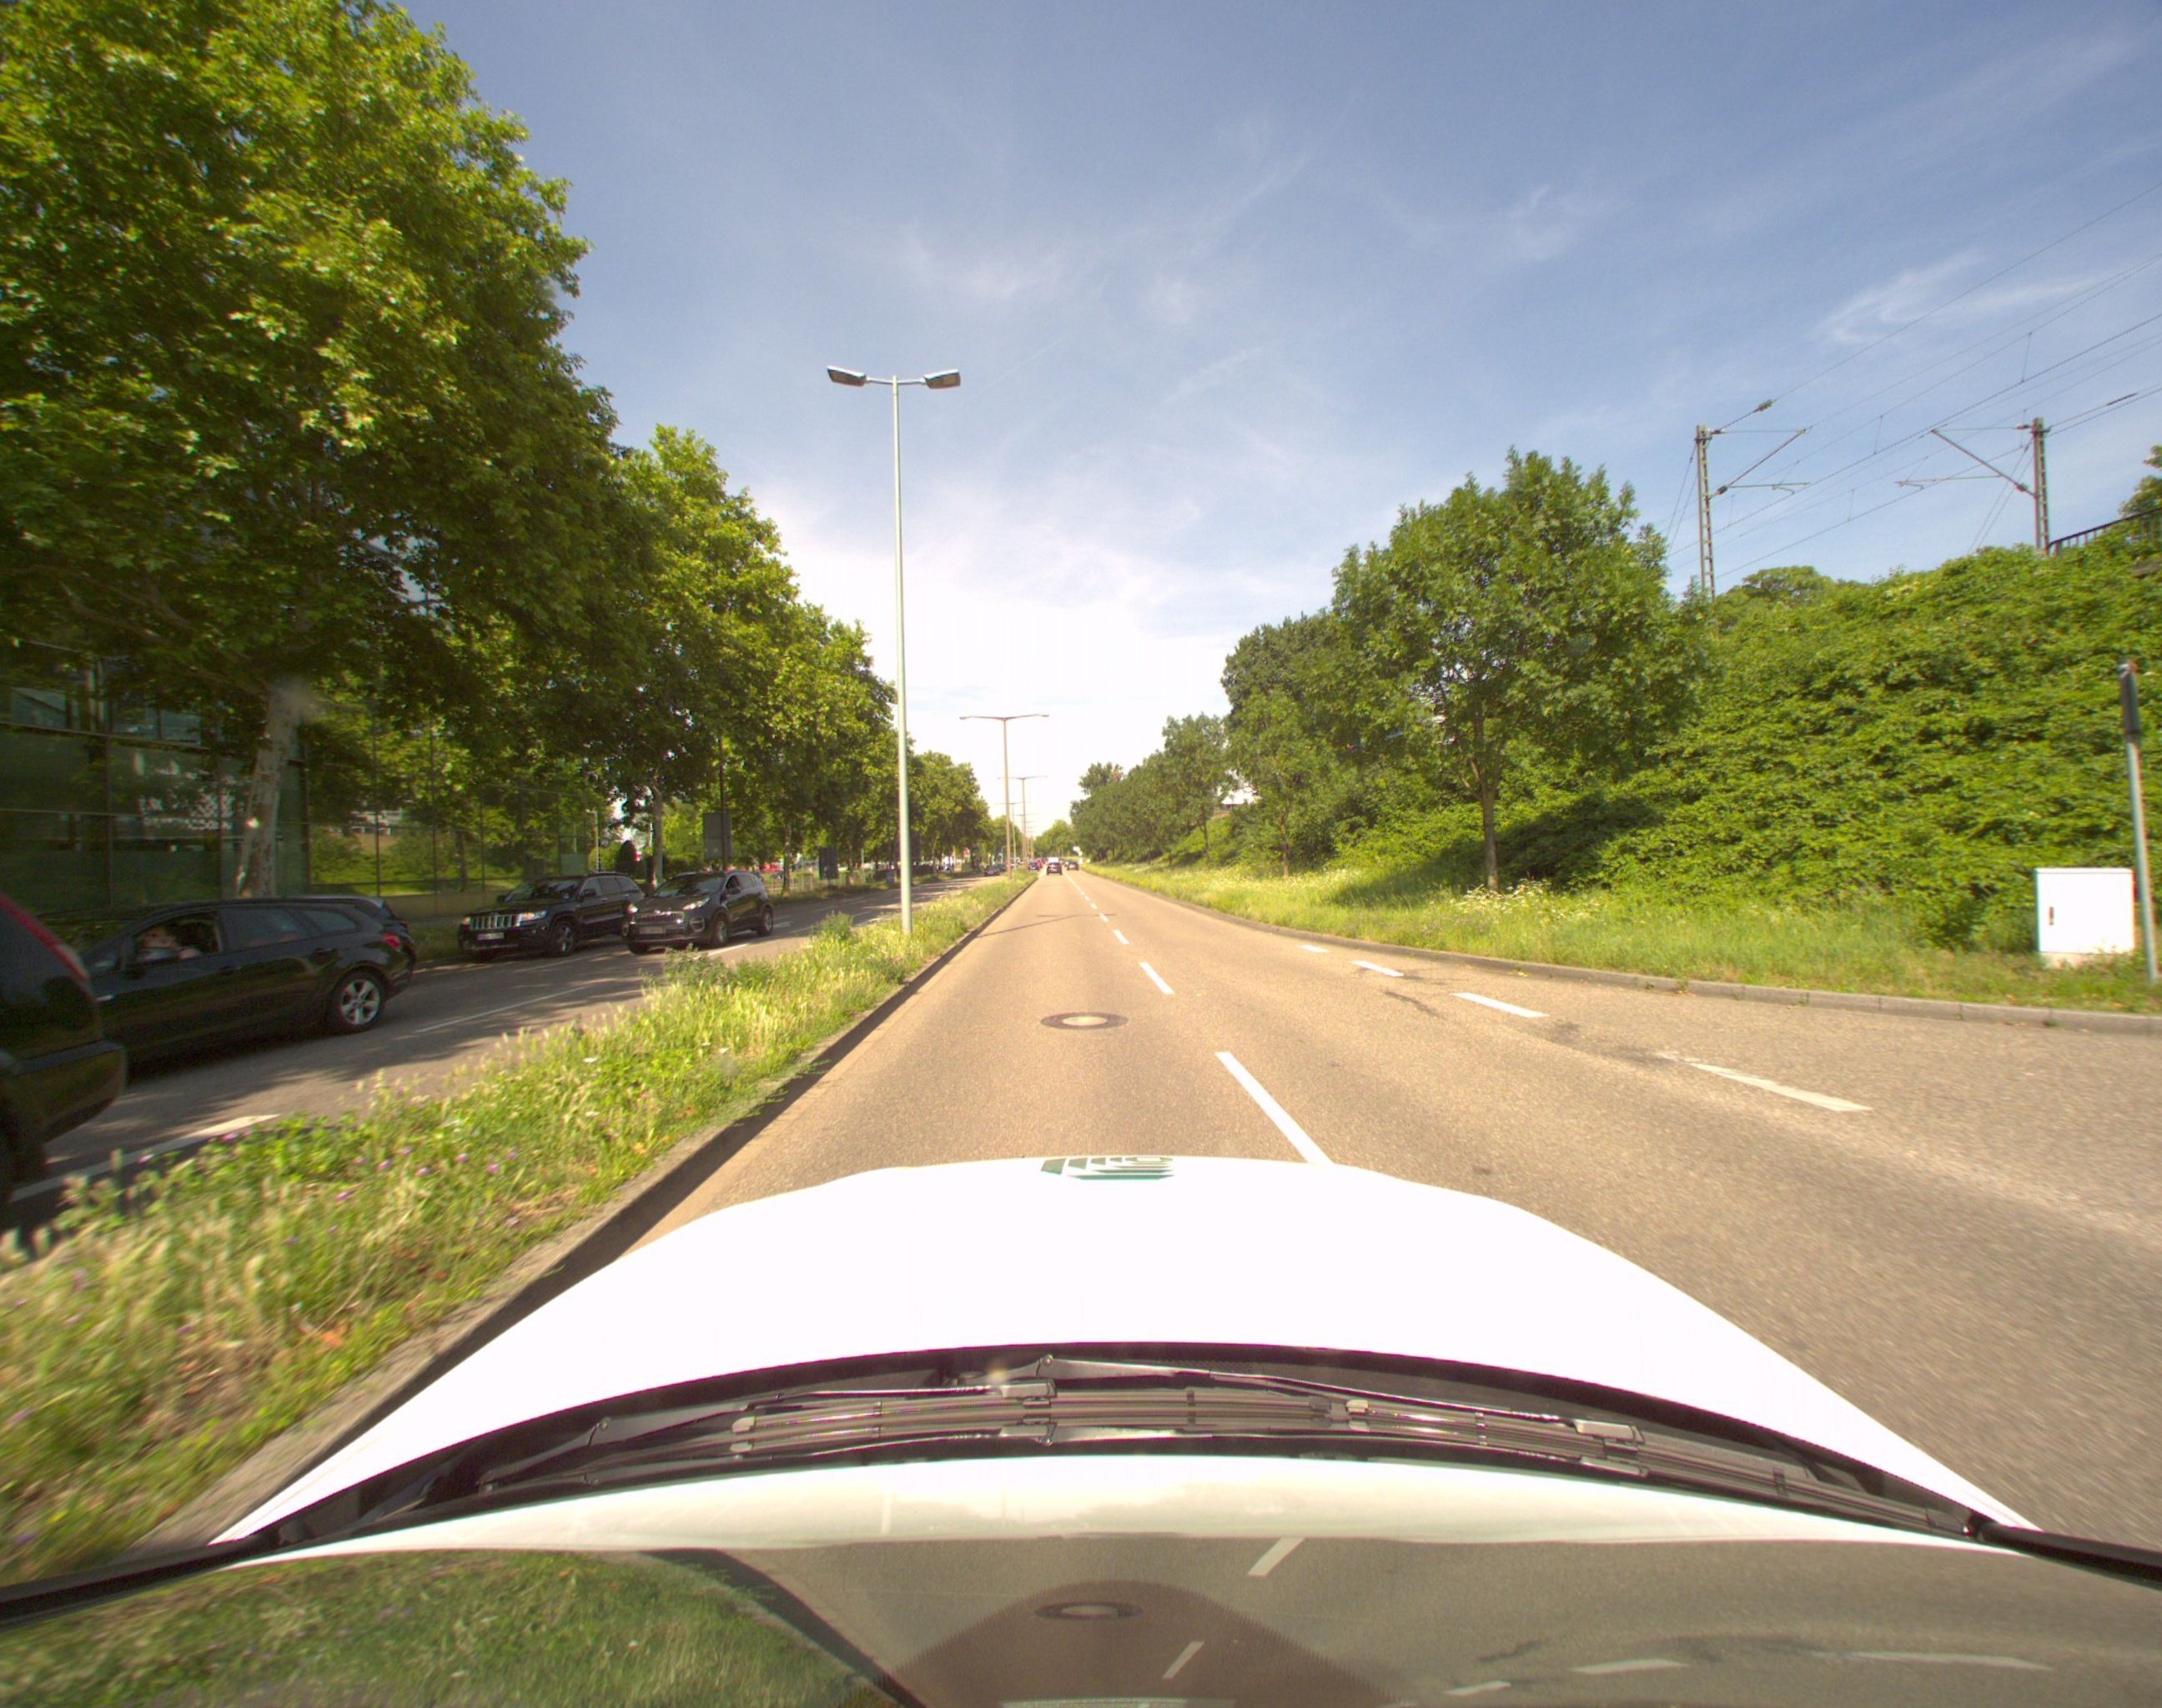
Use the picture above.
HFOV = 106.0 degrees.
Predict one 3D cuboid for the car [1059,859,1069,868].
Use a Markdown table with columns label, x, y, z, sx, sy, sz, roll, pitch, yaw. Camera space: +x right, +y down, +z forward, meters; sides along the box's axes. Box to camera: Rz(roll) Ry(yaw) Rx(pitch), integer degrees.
| label | x | y | z | sx | sy | sz | roll | pitch | yaw |
| --- | --- | --- | --- | --- | --- | --- | --- | --- | --- |
| car | -3.483 | 1.840 | 164.642 | 1.988 | 1.708 | 4.260 | -2 | 0 | -2 |

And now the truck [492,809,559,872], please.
| label | x | y | z | sx | sy | sz | roll | pitch | yaw |
| --- | --- | --- | --- | --- | --- | --- | --- | --- | --- |
| truck | -33.598 | -0.679 | 49.077 | 2.686 | 3.396 | 8.886 | -1 | -1 | -38 |

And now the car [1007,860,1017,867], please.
| label | x | y | z | sx | sy | sz | roll | pitch | yaw |
| --- | --- | --- | --- | --- | --- | --- | --- | --- | --- |
| car | -14.445 | 2.020 | 169.693 | 1.835 | 1.478 | 4.162 | -2 | -1 | -2 |

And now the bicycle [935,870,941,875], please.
| label | x | y | z | sx | sy | sz | roll | pitch | yaw |
| --- | --- | --- | --- | --- | --- | --- | --- | --- | --- |
| bicycle | -24.628 | 3.166 | 140.096 | 0.688 | 0.866 | 1.924 | -2 | -1 | -2 |

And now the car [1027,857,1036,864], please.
| label | x | y | z | sx | sy | sz | roll | pitch | yaw |
| --- | --- | --- | --- | --- | --- | --- | --- | --- | --- |
| car | -13.536 | 1.893 | 223.248 | 1.988 | 1.860 | 3.998 | -2 | 0 | -1 |

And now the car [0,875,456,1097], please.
| label | x | y | z | sx | sy | sz | roll | pitch | yaw |
| --- | --- | --- | --- | --- | --- | --- | --- | --- | --- |
| car | -8.485 | 1.030 | 7.578 | 1.831 | 1.462 | 4.514 | -4 | 0 | -1 |

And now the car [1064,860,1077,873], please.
| label | x | y | z | sx | sy | sz | roll | pitch | yaw |
| --- | --- | --- | --- | --- | --- | --- | --- | --- | --- |
| car | -1.633 | 1.959 | 129.676 | 2.013 | 1.837 | 3.998 | -1 | 2 | -2 |

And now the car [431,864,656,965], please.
| label | x | y | z | sx | sy | sz | roll | pitch | yaw |
| --- | --- | --- | --- | --- | --- | --- | --- | --- | --- |
| car | -11.739 | 1.209 | 18.268 | 1.989 | 1.835 | 4.647 | -3 | 0 | -2 |

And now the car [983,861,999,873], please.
| label | x | y | z | sx | sy | sz | roll | pitch | yaw |
| --- | --- | --- | --- | --- | --- | --- | --- | --- | --- |
| car | -11.448 | 1.644 | 103.737 | 1.823 | 1.467 | 4.981 | -2 | -1 | -4 |

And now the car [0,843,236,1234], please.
| label | x | y | z | sx | sy | sz | roll | pitch | yaw |
| --- | --- | --- | --- | --- | --- | --- | --- | --- | --- |
| car | -5.323 | 0.798 | 2.043 | 1.804 | 1.615 | 4.486 | -2 | 0 | -3 |

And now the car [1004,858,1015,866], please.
| label | x | y | z | sx | sy | sz | roll | pitch | yaw |
| --- | --- | --- | --- | --- | --- | --- | --- | --- | --- |
| car | -13.904 | 1.507 | 159.103 | 1.758 | 1.462 | 3.997 | -3 | 0 | -1 |

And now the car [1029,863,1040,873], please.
| label | x | y | z | sx | sy | sz | roll | pitch | yaw |
| --- | --- | --- | --- | --- | --- | --- | --- | --- | --- |
| car | -7.227 | 2.206 | 126.986 | 1.622 | 1.483 | 4.044 | 0 | 0 | -3 |

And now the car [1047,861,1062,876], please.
| label | x | y | z | sx | sy | sz | roll | pitch | yaw |
| --- | --- | --- | --- | --- | --- | --- | --- | --- | --- |
| car | -3.177 | 1.720 | 99.059 | 1.732 | 1.535 | 3.998 | -1 | 2 | -2 |

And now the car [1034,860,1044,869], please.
| label | x | y | z | sx | sy | sz | roll | pitch | yaw |
| --- | --- | --- | --- | --- | --- | --- | --- | --- | --- |
| car | -7.735 | 1.971 | 151.443 | 1.778 | 1.593 | 4.589 | -1 | 0 | -3 |

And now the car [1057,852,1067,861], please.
| label | x | y | z | sx | sy | sz | roll | pitch | yaw |
| --- | --- | --- | --- | --- | --- | --- | --- | --- | --- |
| car | -4.525 | 0.708 | 190.992 | 1.991 | 2.014 | 3.992 | -2 | -1 | -6 |

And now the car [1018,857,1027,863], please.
| label | x | y | z | sx | sy | sz | roll | pitch | yaw |
| --- | --- | --- | --- | --- | --- | --- | --- | --- | --- |
| car | -16.474 | 1.660 | 230.200 | 1.987 | 1.775 | 4.000 | -2 | -1 | 0 |

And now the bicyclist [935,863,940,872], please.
| label | x | y | z | sx | sy | sz | roll | pitch | yaw |
| --- | --- | --- | --- | --- | --- | --- | --- | --- | --- |
| bicyclist | -24.663 | 2.324 | 140.077 | 0.679 | 1.485 | 0.941 | -2 | -1 | -2 |

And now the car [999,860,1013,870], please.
| label | x | y | z | sx | sy | sz | roll | pitch | yaw |
| --- | --- | --- | --- | --- | --- | --- | --- | --- | --- |
| car | -11.564 | 1.731 | 125.751 | 1.768 | 1.467 | 4.668 | -3 | -1 | -2 |

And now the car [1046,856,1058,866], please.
| label | x | y | z | sx | sy | sz | roll | pitch | yaw |
| --- | --- | --- | --- | --- | --- | --- | --- | --- | --- |
| car | -5.007 | 1.188 | 140.783 | 1.988 | 1.708 | 4.260 | -2 | 0 | -2 |

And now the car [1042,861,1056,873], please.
| label | x | y | z | sx | sy | sz | roll | pitch | yaw |
| --- | --- | --- | --- | --- | --- | --- | --- | --- | --- |
| car | -4.677 | 1.947 | 120.914 | 1.989 | 1.684 | 3.996 | -2 | 0 | -2 |

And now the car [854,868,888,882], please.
| label | x | y | z | sx | sy | sz | roll | pitch | yaw |
| --- | --- | --- | --- | --- | --- | --- | --- | --- | --- |
| car | -28.194 | 2.774 | 109.290 | 3.972 | 1.823 | 2.157 | -1 | -1 | 1 |

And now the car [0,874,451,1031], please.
| label | x | y | z | sx | sy | sz | roll | pitch | yaw |
| --- | --- | --- | --- | --- | --- | --- | --- | --- | --- |
| car | -11.574 | 1.182 | 11.489 | 1.882 | 1.590 | 4.443 | -4 | 0 | -1 |

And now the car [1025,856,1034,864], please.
| label | x | y | z | sx | sy | sz | roll | pitch | yaw |
| --- | --- | --- | --- | --- | --- | --- | --- | --- | --- |
| car | -11.669 | 1.304 | 184.983 | 1.988 | 1.708 | 4.260 | -2 | 0 | -2 |

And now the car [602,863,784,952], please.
| label | x | y | z | sx | sy | sz | roll | pitch | yaw |
| --- | --- | --- | --- | --- | --- | --- | --- | --- | --- |
| car | -8.449 | 1.071 | 18.263 | 1.989 | 1.611 | 4.492 | -3 | 0 | -2 |
